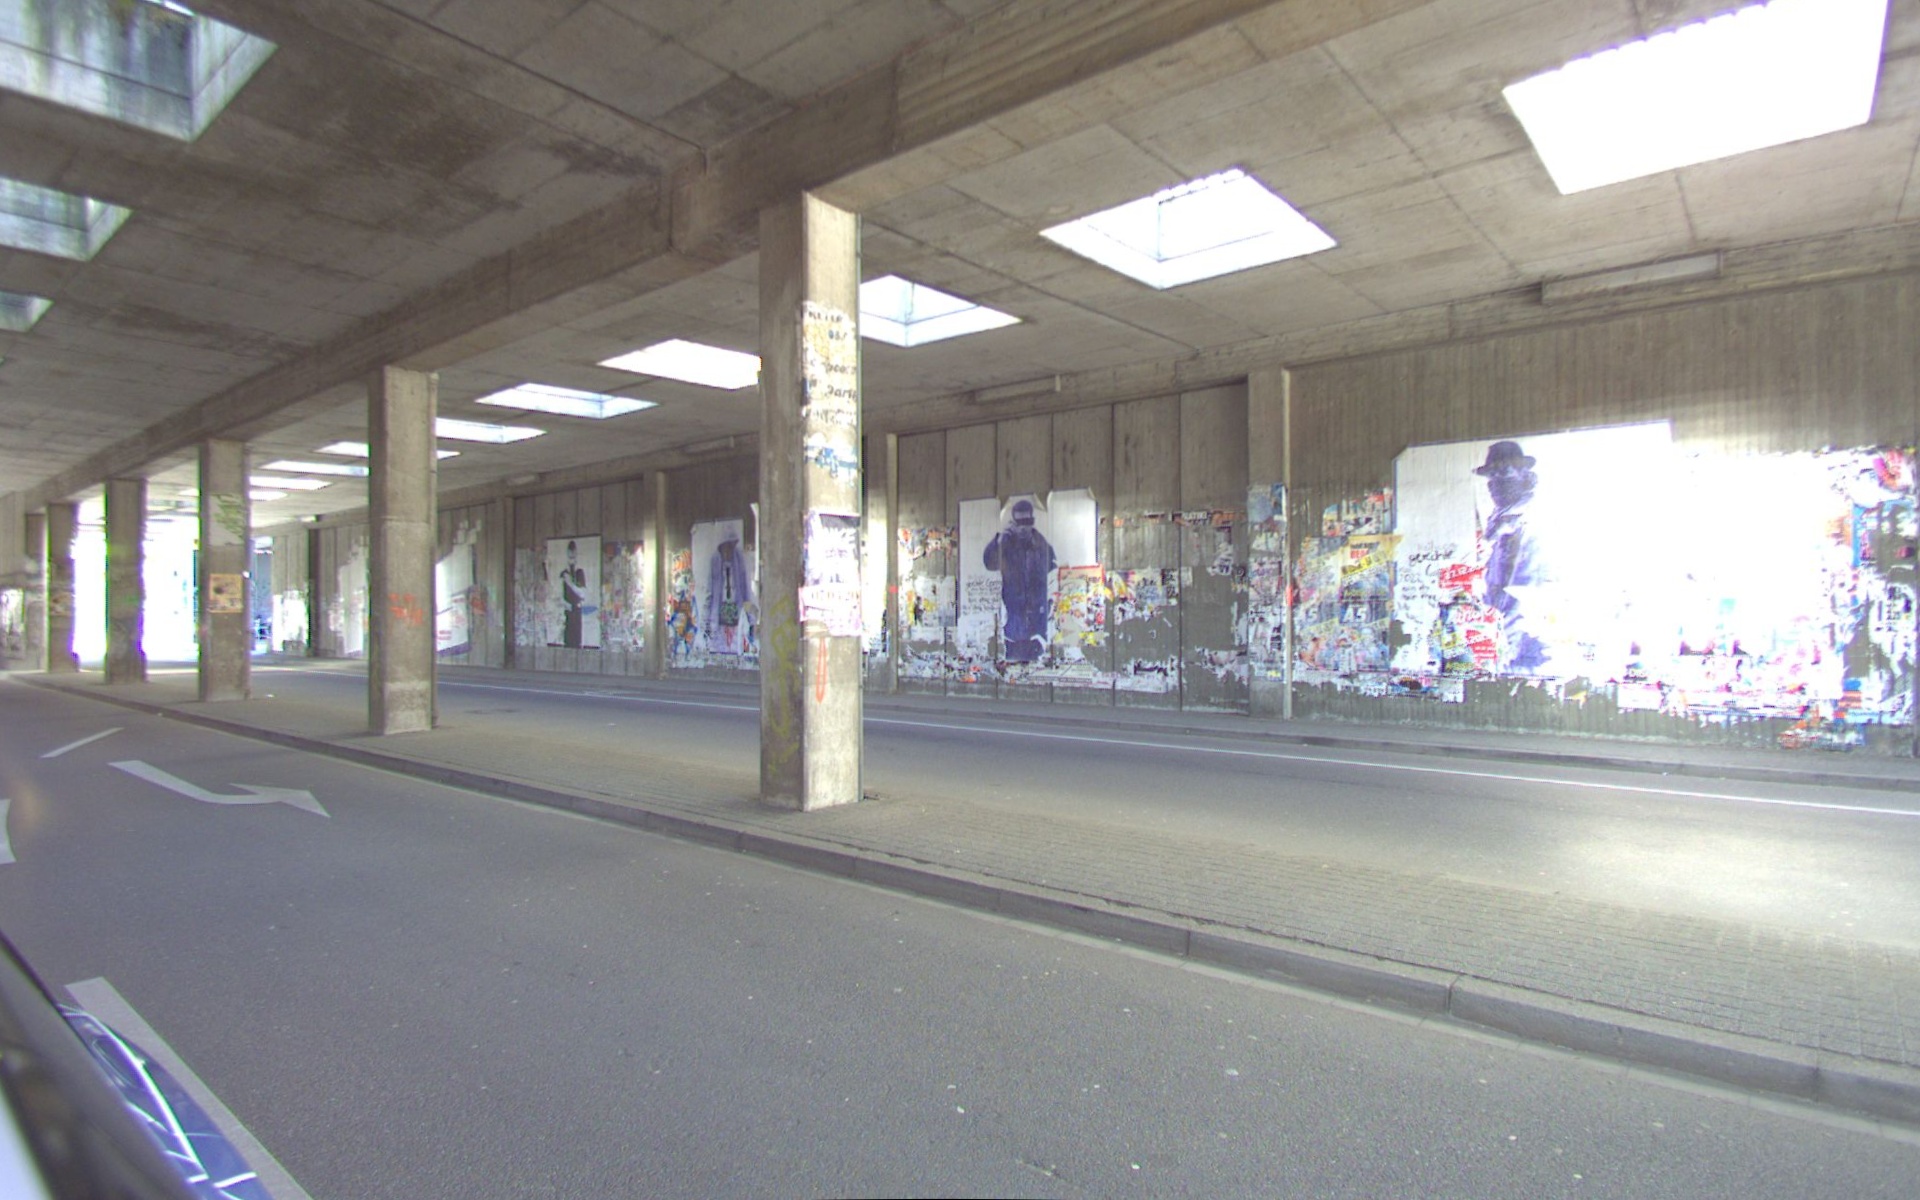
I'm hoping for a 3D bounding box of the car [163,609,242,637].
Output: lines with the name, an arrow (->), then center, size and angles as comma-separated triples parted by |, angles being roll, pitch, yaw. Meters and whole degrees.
car -> -49.748, 1.486, 66.526 | 3.941, 1.763, 2.002 | -1, 0, -44
